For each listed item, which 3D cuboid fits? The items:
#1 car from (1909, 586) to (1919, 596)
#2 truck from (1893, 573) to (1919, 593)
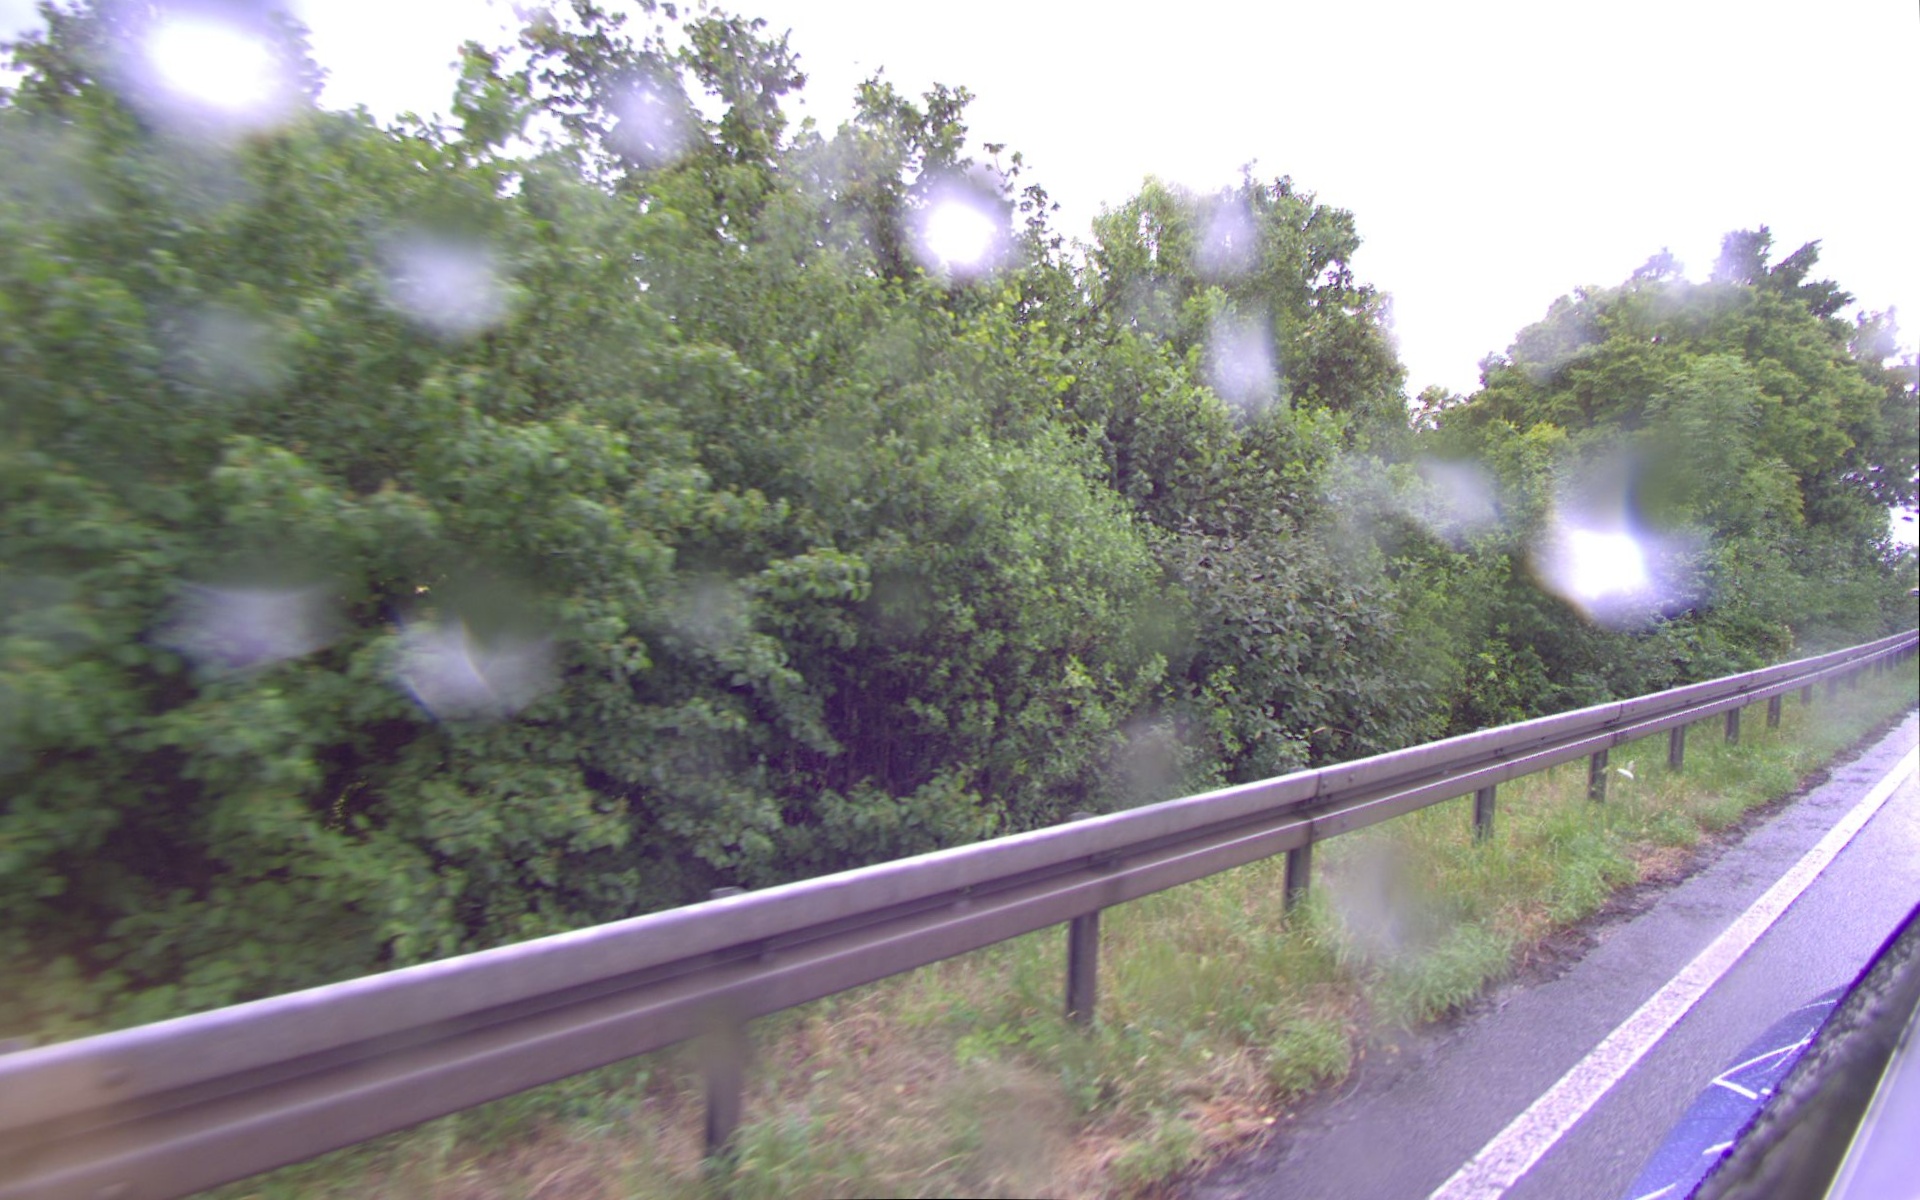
[{"bbox_3d":[135.599,-1.265,143.301,1.527,1.486,3.031,0,1,39],"label":"car"},{"bbox_3d":[146.929,-2.667,157.213,2.420,3.037,6.849,0,1,38],"label":"truck"}]
